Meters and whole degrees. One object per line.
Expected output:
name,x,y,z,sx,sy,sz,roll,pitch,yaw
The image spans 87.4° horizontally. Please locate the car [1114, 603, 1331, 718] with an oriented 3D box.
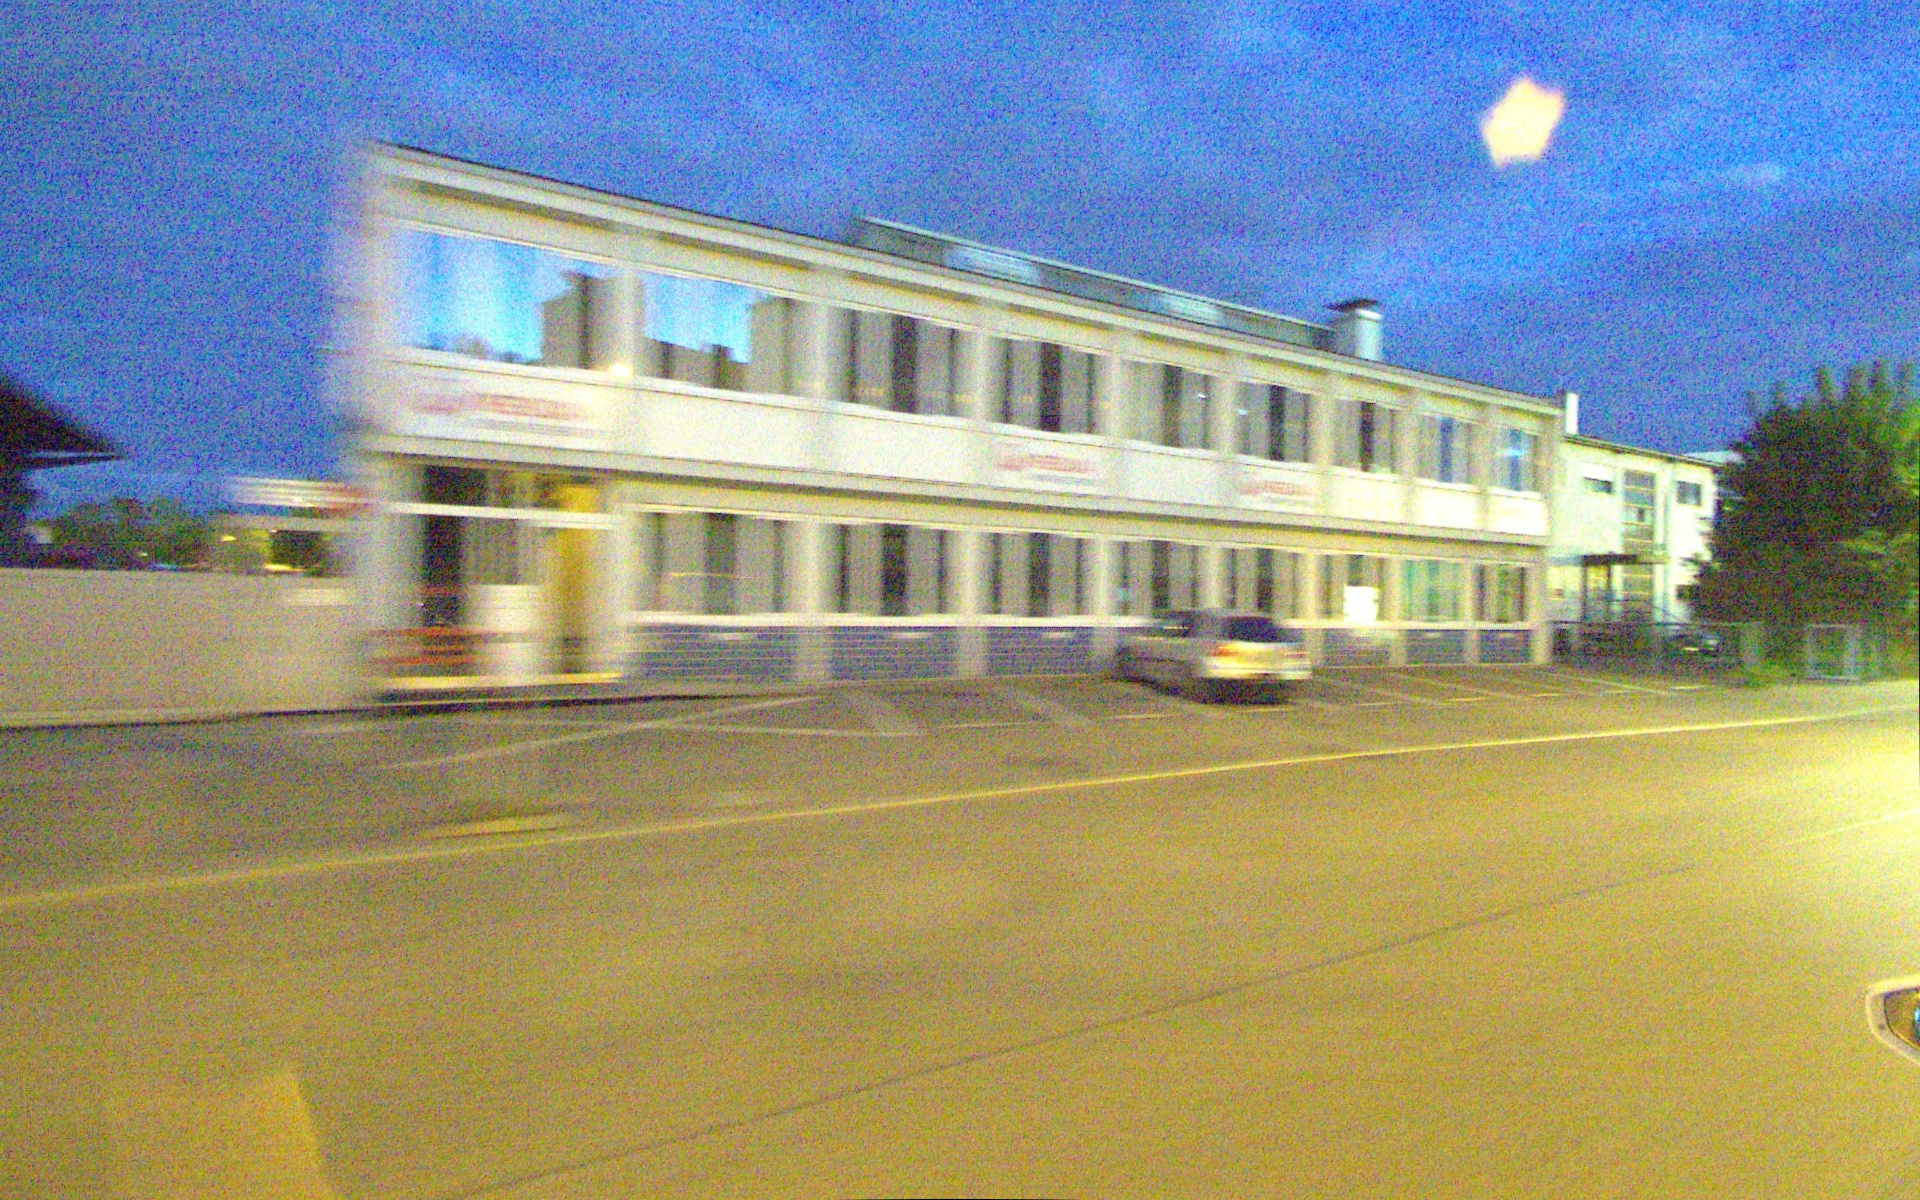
car,4.241,0.917,17.000,1.863,1.452,4.131,1,3,-12
